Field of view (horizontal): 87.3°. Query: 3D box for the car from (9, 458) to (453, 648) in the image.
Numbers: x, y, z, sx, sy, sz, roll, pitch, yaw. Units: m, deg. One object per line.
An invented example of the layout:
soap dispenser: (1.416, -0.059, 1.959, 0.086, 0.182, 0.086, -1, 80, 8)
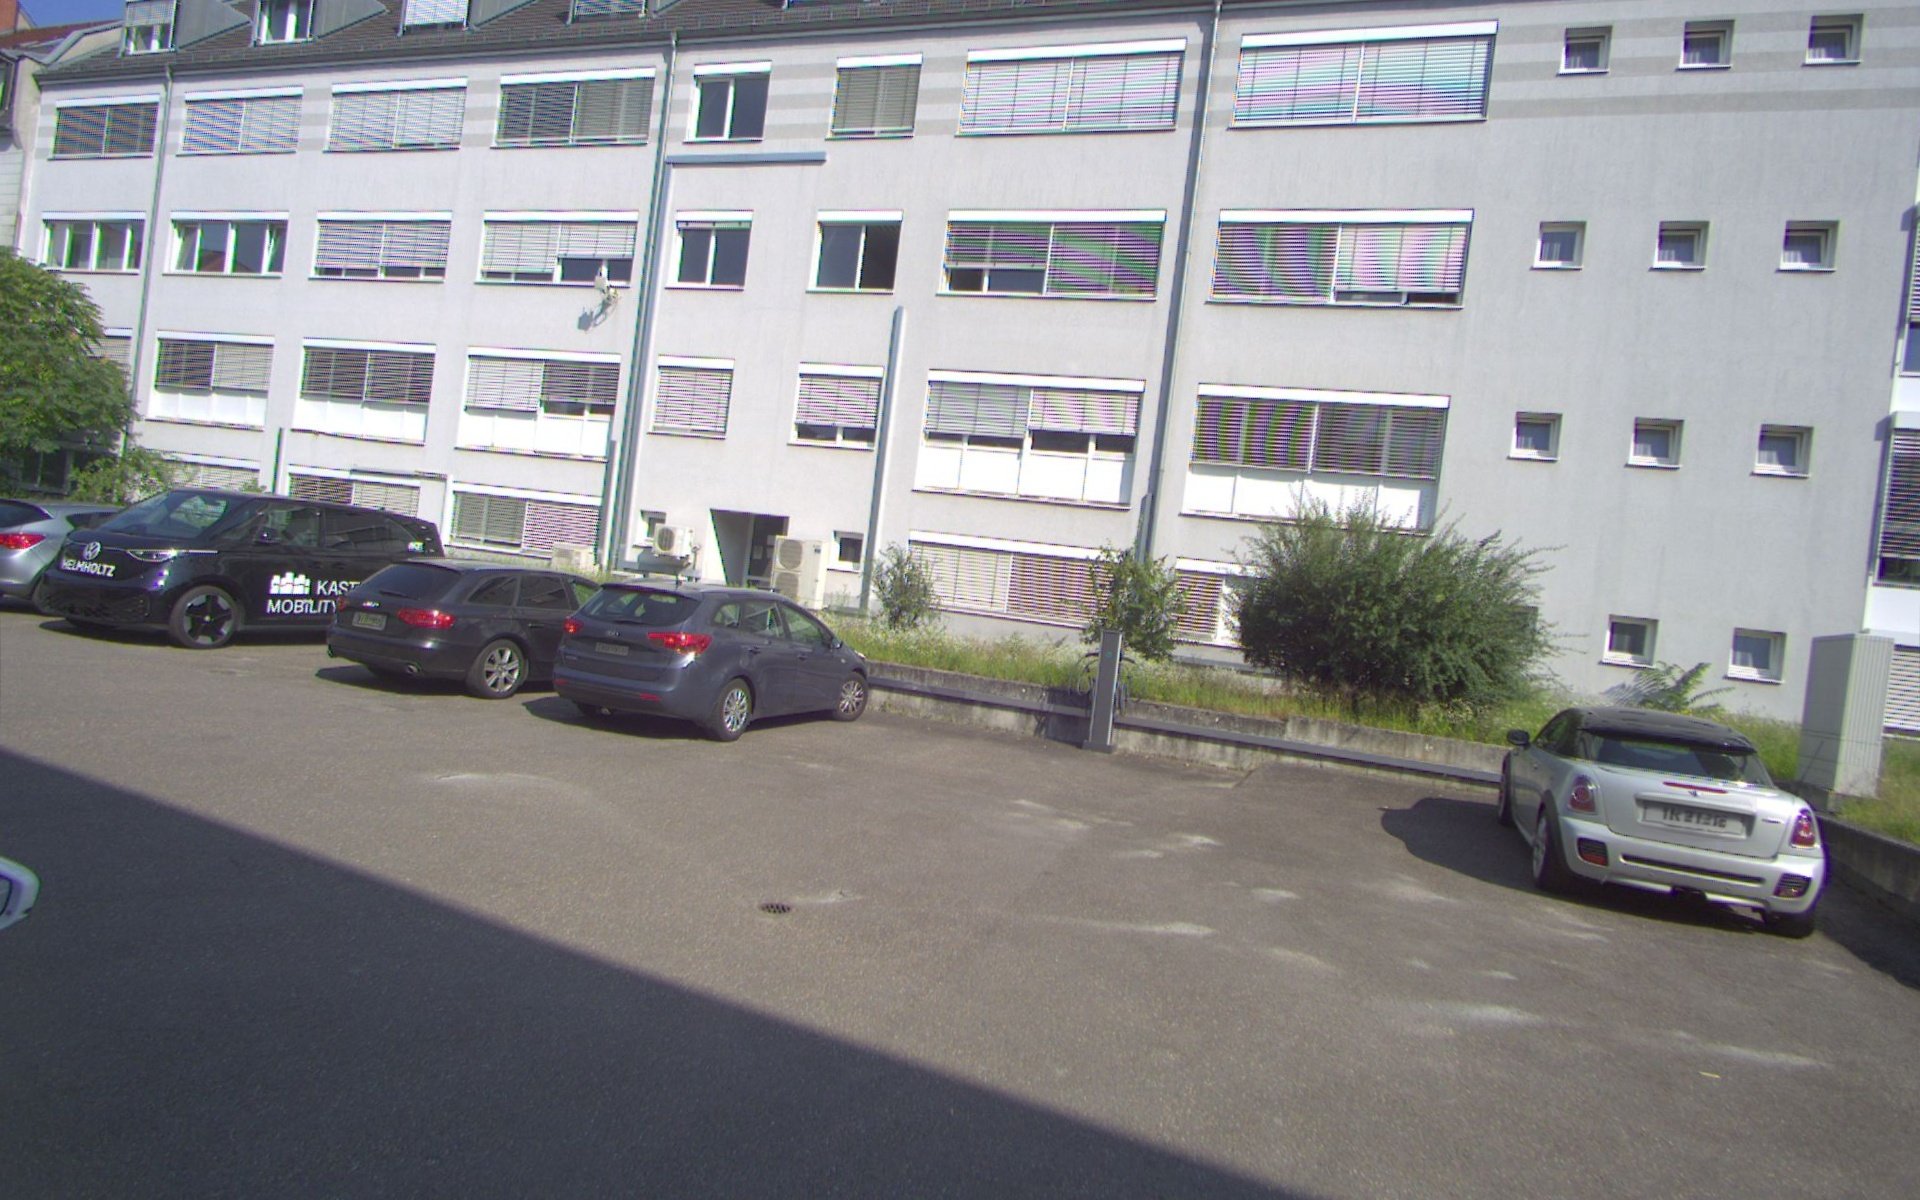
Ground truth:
car: (-9.124, -0.458, 13.149, 1.878, 1.882, 4.350, 8, 0, 15)

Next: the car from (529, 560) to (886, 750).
car: (-2.497, 0.570, 11.075, 1.710, 1.496, 4.060, 8, 0, 20)

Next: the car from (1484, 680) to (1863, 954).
car: (5.623, 1.560, 8.455, 1.628, 1.455, 3.581, 8, 0, 22)

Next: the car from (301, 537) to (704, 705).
car: (-5.104, 0.296, 11.939, 1.659, 1.455, 4.245, 8, 0, 23)

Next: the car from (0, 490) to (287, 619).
car: (-11.858, -0.593, 14.095, 1.631, 1.484, 3.911, 7, 0, 11)
